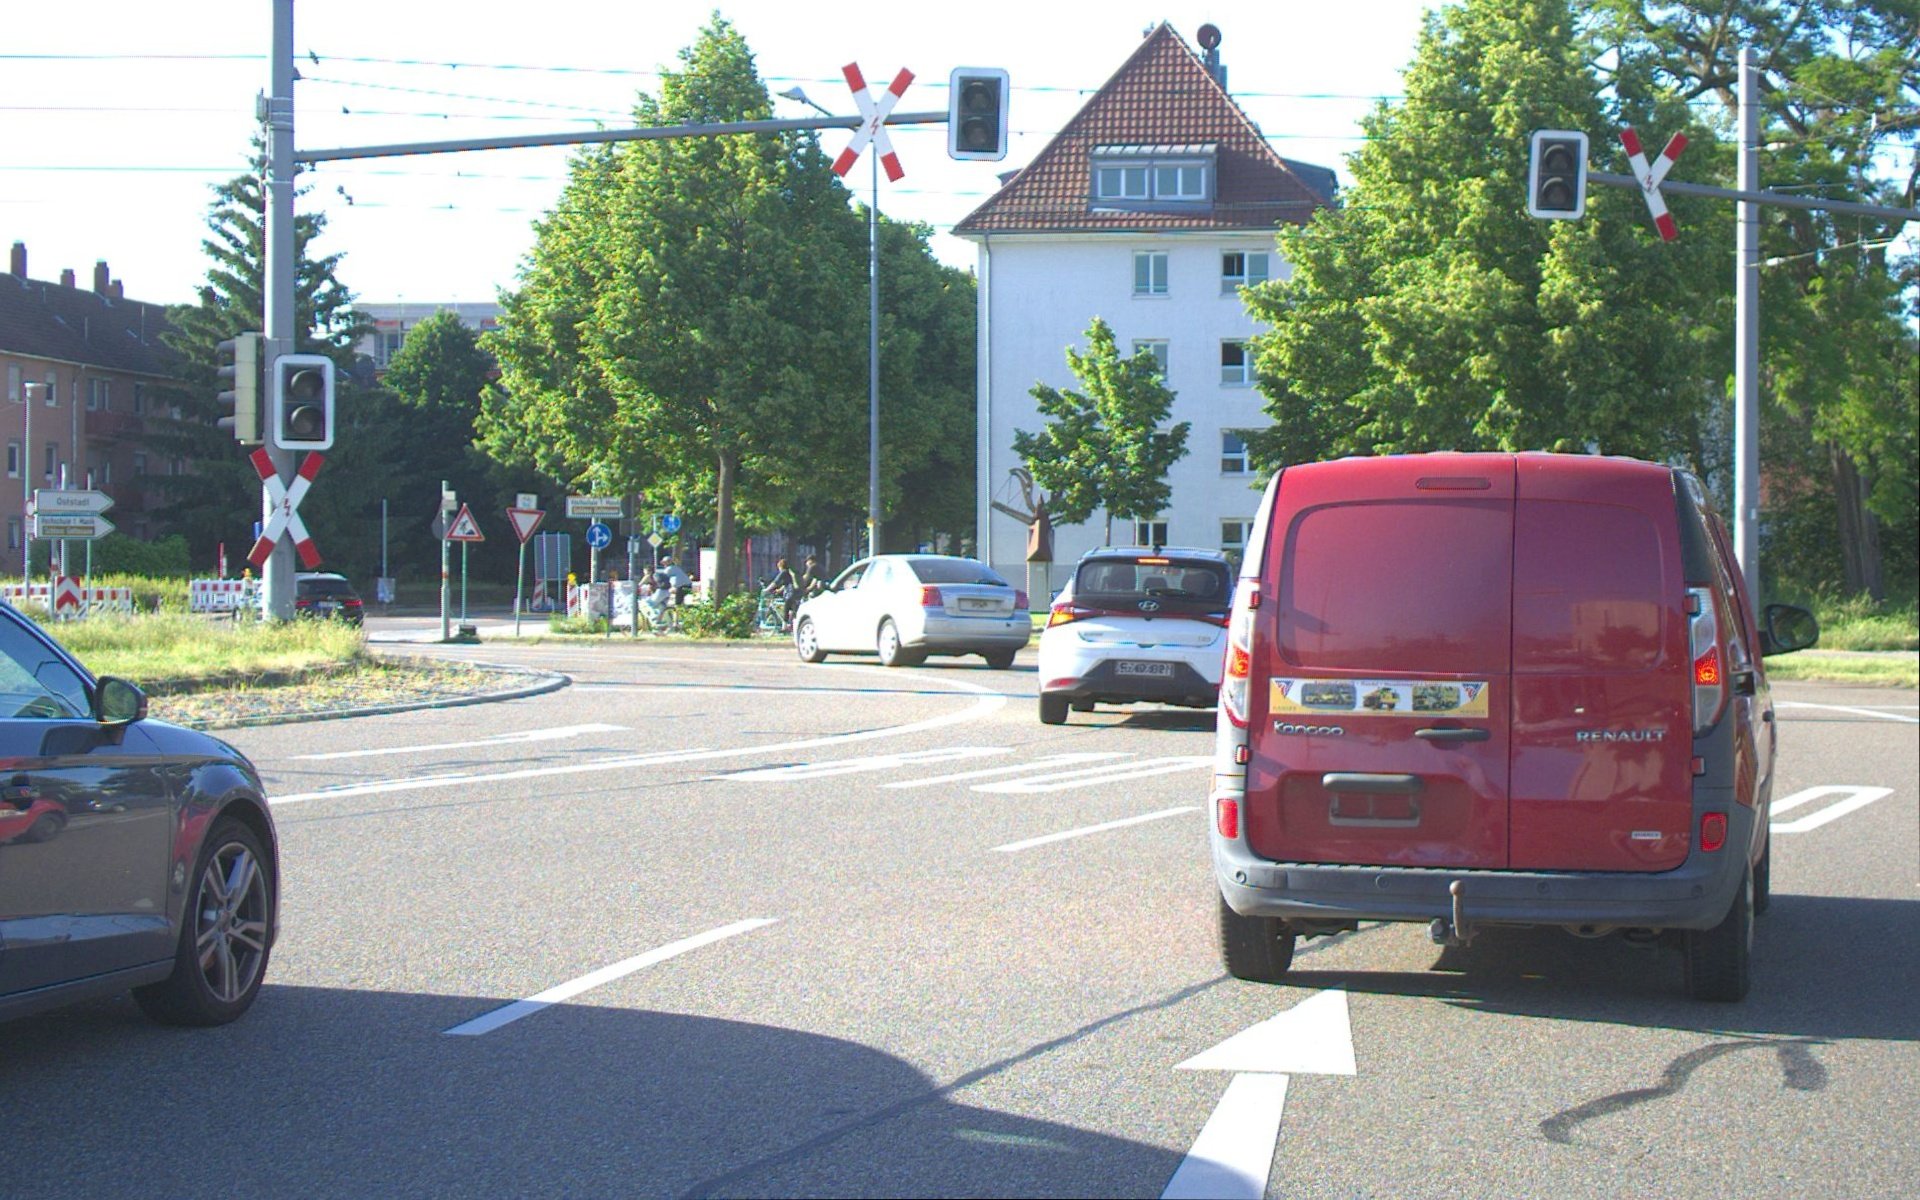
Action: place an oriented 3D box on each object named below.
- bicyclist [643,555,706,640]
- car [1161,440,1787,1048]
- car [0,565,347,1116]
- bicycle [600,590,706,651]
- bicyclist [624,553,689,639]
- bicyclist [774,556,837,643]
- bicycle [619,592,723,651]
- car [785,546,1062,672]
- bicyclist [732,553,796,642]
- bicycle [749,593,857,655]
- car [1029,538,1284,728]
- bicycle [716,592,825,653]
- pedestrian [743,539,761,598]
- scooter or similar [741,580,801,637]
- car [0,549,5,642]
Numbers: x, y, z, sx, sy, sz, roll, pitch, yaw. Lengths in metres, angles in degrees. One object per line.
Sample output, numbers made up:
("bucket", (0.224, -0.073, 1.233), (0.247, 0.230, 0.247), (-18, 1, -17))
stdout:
("bicyclist", (-6.299, -0.050, 75.857), (1.024, 1.846, 0.883), (1, -2, 35))
("car", (2.014, 0.393, 12.505), (1.804, 1.807, 3.807), (2, 2, 15))
("car", (-3.231, 0.587, 8.861), (1.761, 1.375, 4.356), (1, 0, 11))
("bicycle", (-6.675, 0.440, 74.606), (2.207, 1.261, 0.883), (1, -2, 35))
("bicyclist", (-6.580, -0.085, 74.539), (1.024, 1.846, 0.883), (1, -2, 35))
("bicyclist", (-3.327, -0.011, 73.968), (1.024, 1.846, 0.811), (1, -2, 31))
("bicycle", (-6.385, 0.475, 75.887), (2.207, 1.261, 0.883), (1, -2, 35))
("car", (-0.545, 0.076, 45.458), (1.993, 1.569, 4.409), (0, 1, -25))
("bicyclist", (-4.169, -0.051, 73.106), (1.024, 1.846, 0.811), (1, -2, 31))
("bicycle", (-3.390, 0.514, 73.974), (2.206, 1.261, 0.817), (1, -2, 31))
("car", (1.703, 0.267, 28.635), (1.803, 1.456, 3.808), (1, 0, 8))
("bicycle", (-4.033, 0.476, 73.002), (2.206, 1.261, 0.817), (1, -2, 31))
("pedestrian", (-7.086, -1.062, 117.136), (0.470, 2.007, 0.454), (1, 0, 17))
("scooter or similar", (-4.150, 0.191, 75.570), (1.263, 1.244, 0.444), (-1, -2, 30))
("car", (-19.244, -0.090, 60.376), (4.397, 1.633, 1.998), (1, 1, 18))
